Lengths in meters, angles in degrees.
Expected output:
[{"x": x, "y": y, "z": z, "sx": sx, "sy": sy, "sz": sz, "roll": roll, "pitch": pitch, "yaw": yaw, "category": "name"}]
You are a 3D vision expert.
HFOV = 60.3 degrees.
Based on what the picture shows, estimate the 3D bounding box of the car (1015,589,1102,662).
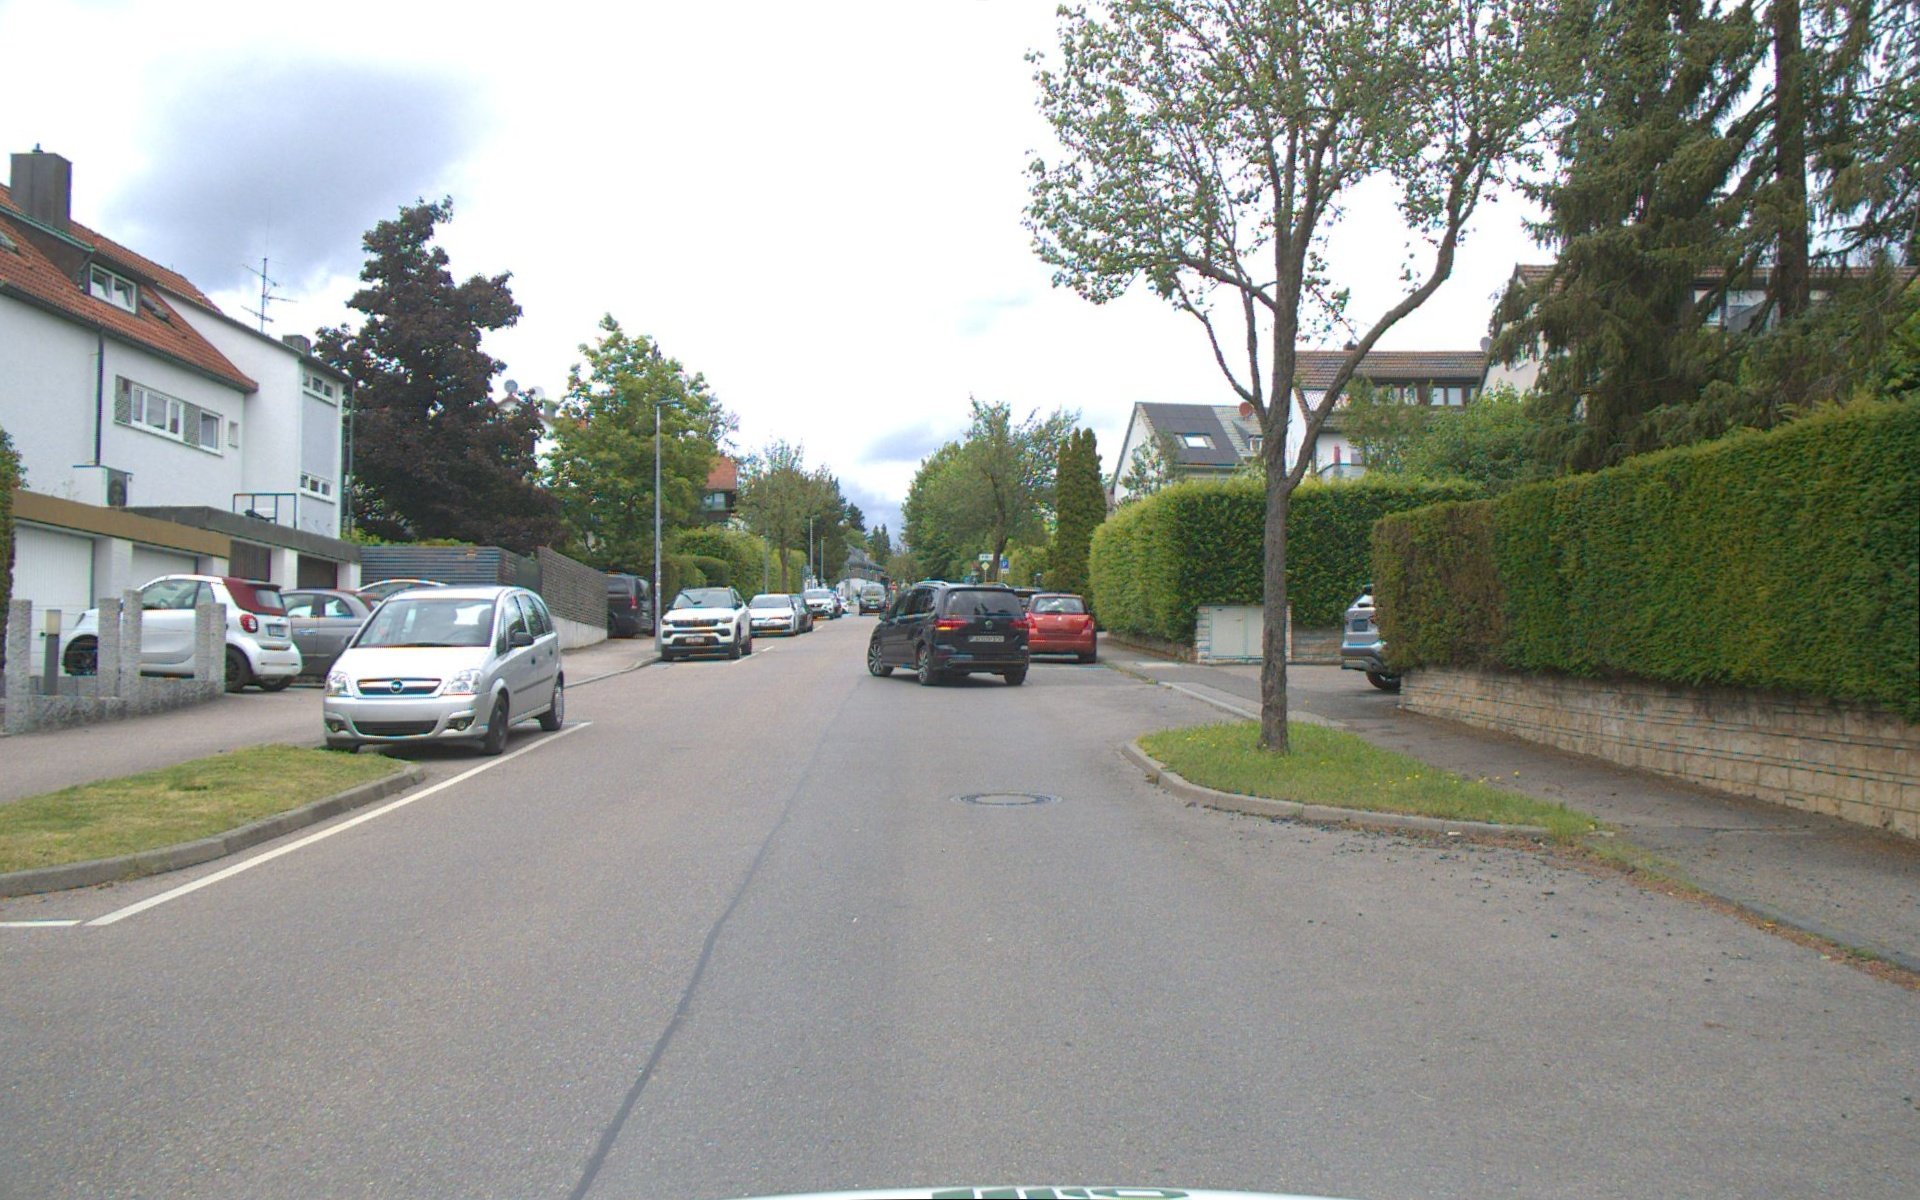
[{"x": 2.150, "y": 0.533, "z": 36.904, "sx": 1.627, "sy": 1.534, "sz": 3.757, "roll": 0, "pitch": 0, "yaw": -2, "category": "car"}]

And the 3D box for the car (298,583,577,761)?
[{"x": -5.239, "y": 0.653, "z": 17.105, "sx": 1.725, "sy": 1.590, "sz": 3.854, "roll": -1, "pitch": 0, "yaw": -2, "category": "car"}]

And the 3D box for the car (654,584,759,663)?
[{"x": -5.895, "y": 0.515, "z": 38.902, "sx": 1.800, "sy": 1.695, "sz": 4.407, "roll": -2, "pitch": 0, "yaw": -1, "category": "car"}]

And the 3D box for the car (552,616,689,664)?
[{"x": -10.843, "y": 1.261, "z": 52.884, "sx": 3.902, "sy": 1.471, "sz": 1.780, "roll": 0, "pitch": 0, "yaw": 11, "category": "car"}]

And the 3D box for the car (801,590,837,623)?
[{"x": -6.953, "y": 0.300, "z": 81.936, "sx": 1.688, "sy": 1.567, "sz": 3.997, "roll": -1, "pitch": 0, "yaw": -4, "category": "car"}]

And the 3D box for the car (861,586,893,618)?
[{"x": -5.038, "y": 0.134, "z": 100.961, "sx": 1.847, "sy": 1.883, "sz": 4.400, "roll": -1, "pitch": 0, "yaw": -2, "category": "car"}]

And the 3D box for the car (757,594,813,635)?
[{"x": -6.531, "y": 0.523, "z": 62.042, "sx": 1.692, "sy": 1.448, "sz": 4.078, "roll": -2, "pitch": 0, "yaw": -1, "category": "car"}]

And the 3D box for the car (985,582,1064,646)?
[{"x": 1.763, "y": 0.388, "z": 46.596, "sx": 1.953, "sy": 1.646, "sz": 4.512, "roll": 2, "pitch": 0, "yaw": -1, "category": "car"}]

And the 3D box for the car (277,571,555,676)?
[{"x": -9.699, "y": 0.413, "z": 29.780, "sx": 4.323, "sy": 1.657, "sz": 1.910, "roll": 2, "pitch": 0, "yaw": -3, "category": "car"}]

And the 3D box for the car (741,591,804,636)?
[{"x": -6.464, "y": 0.431, "z": 57.338, "sx": 1.800, "sy": 1.447, "sz": 4.406, "roll": -2, "pitch": 0, "yaw": -2, "category": "car"}]

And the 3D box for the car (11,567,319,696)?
[{"x": -10.862, "y": 0.432, "z": 22.765, "sx": 3.359, "sy": 1.606, "sz": 1.656, "roll": 2, "pitch": -1, "yaw": -1, "category": "car"}]

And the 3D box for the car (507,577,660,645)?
[{"x": -11.180, "y": 0.347, "z": 49.250, "sx": 3.986, "sy": 1.984, "sz": 2.001, "roll": 0, "pitch": -1, "yaw": 6, "category": "car"}]

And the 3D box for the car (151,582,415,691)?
[{"x": -10.513, "y": 0.563, "z": 25.853, "sx": 3.359, "sy": 1.539, "sz": 1.692, "roll": 2, "pitch": -1, "yaw": -1, "category": "car"}]

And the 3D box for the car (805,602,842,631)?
[{"x": -7.230, "y": 0.906, "z": 87.863, "sx": 1.727, "sy": 1.412, "sz": 3.998, "roll": -2, "pitch": -1, "yaw": -2, "category": "car"}]

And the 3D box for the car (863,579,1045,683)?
[{"x": -0.191, "y": 0.493, "z": 28.183, "sx": 1.820, "sy": 1.640, "sz": 4.287, "roll": 0, "pitch": 0, "yaw": -19, "category": "car"}]

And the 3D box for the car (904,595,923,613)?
[{"x": -4.657, "y": 0.390, "z": 164.001, "sx": 1.632, "sy": 1.697, "sz": 3.463, "roll": 0, "pitch": 0, "yaw": -6, "category": "car"}]

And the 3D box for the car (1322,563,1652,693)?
[{"x": 7.562, "y": 0.366, "z": 23.891, "sx": 4.132, "sy": 1.627, "sz": 1.877, "roll": -2, "pitch": 1, "yaw": -11, "category": "car"}]
